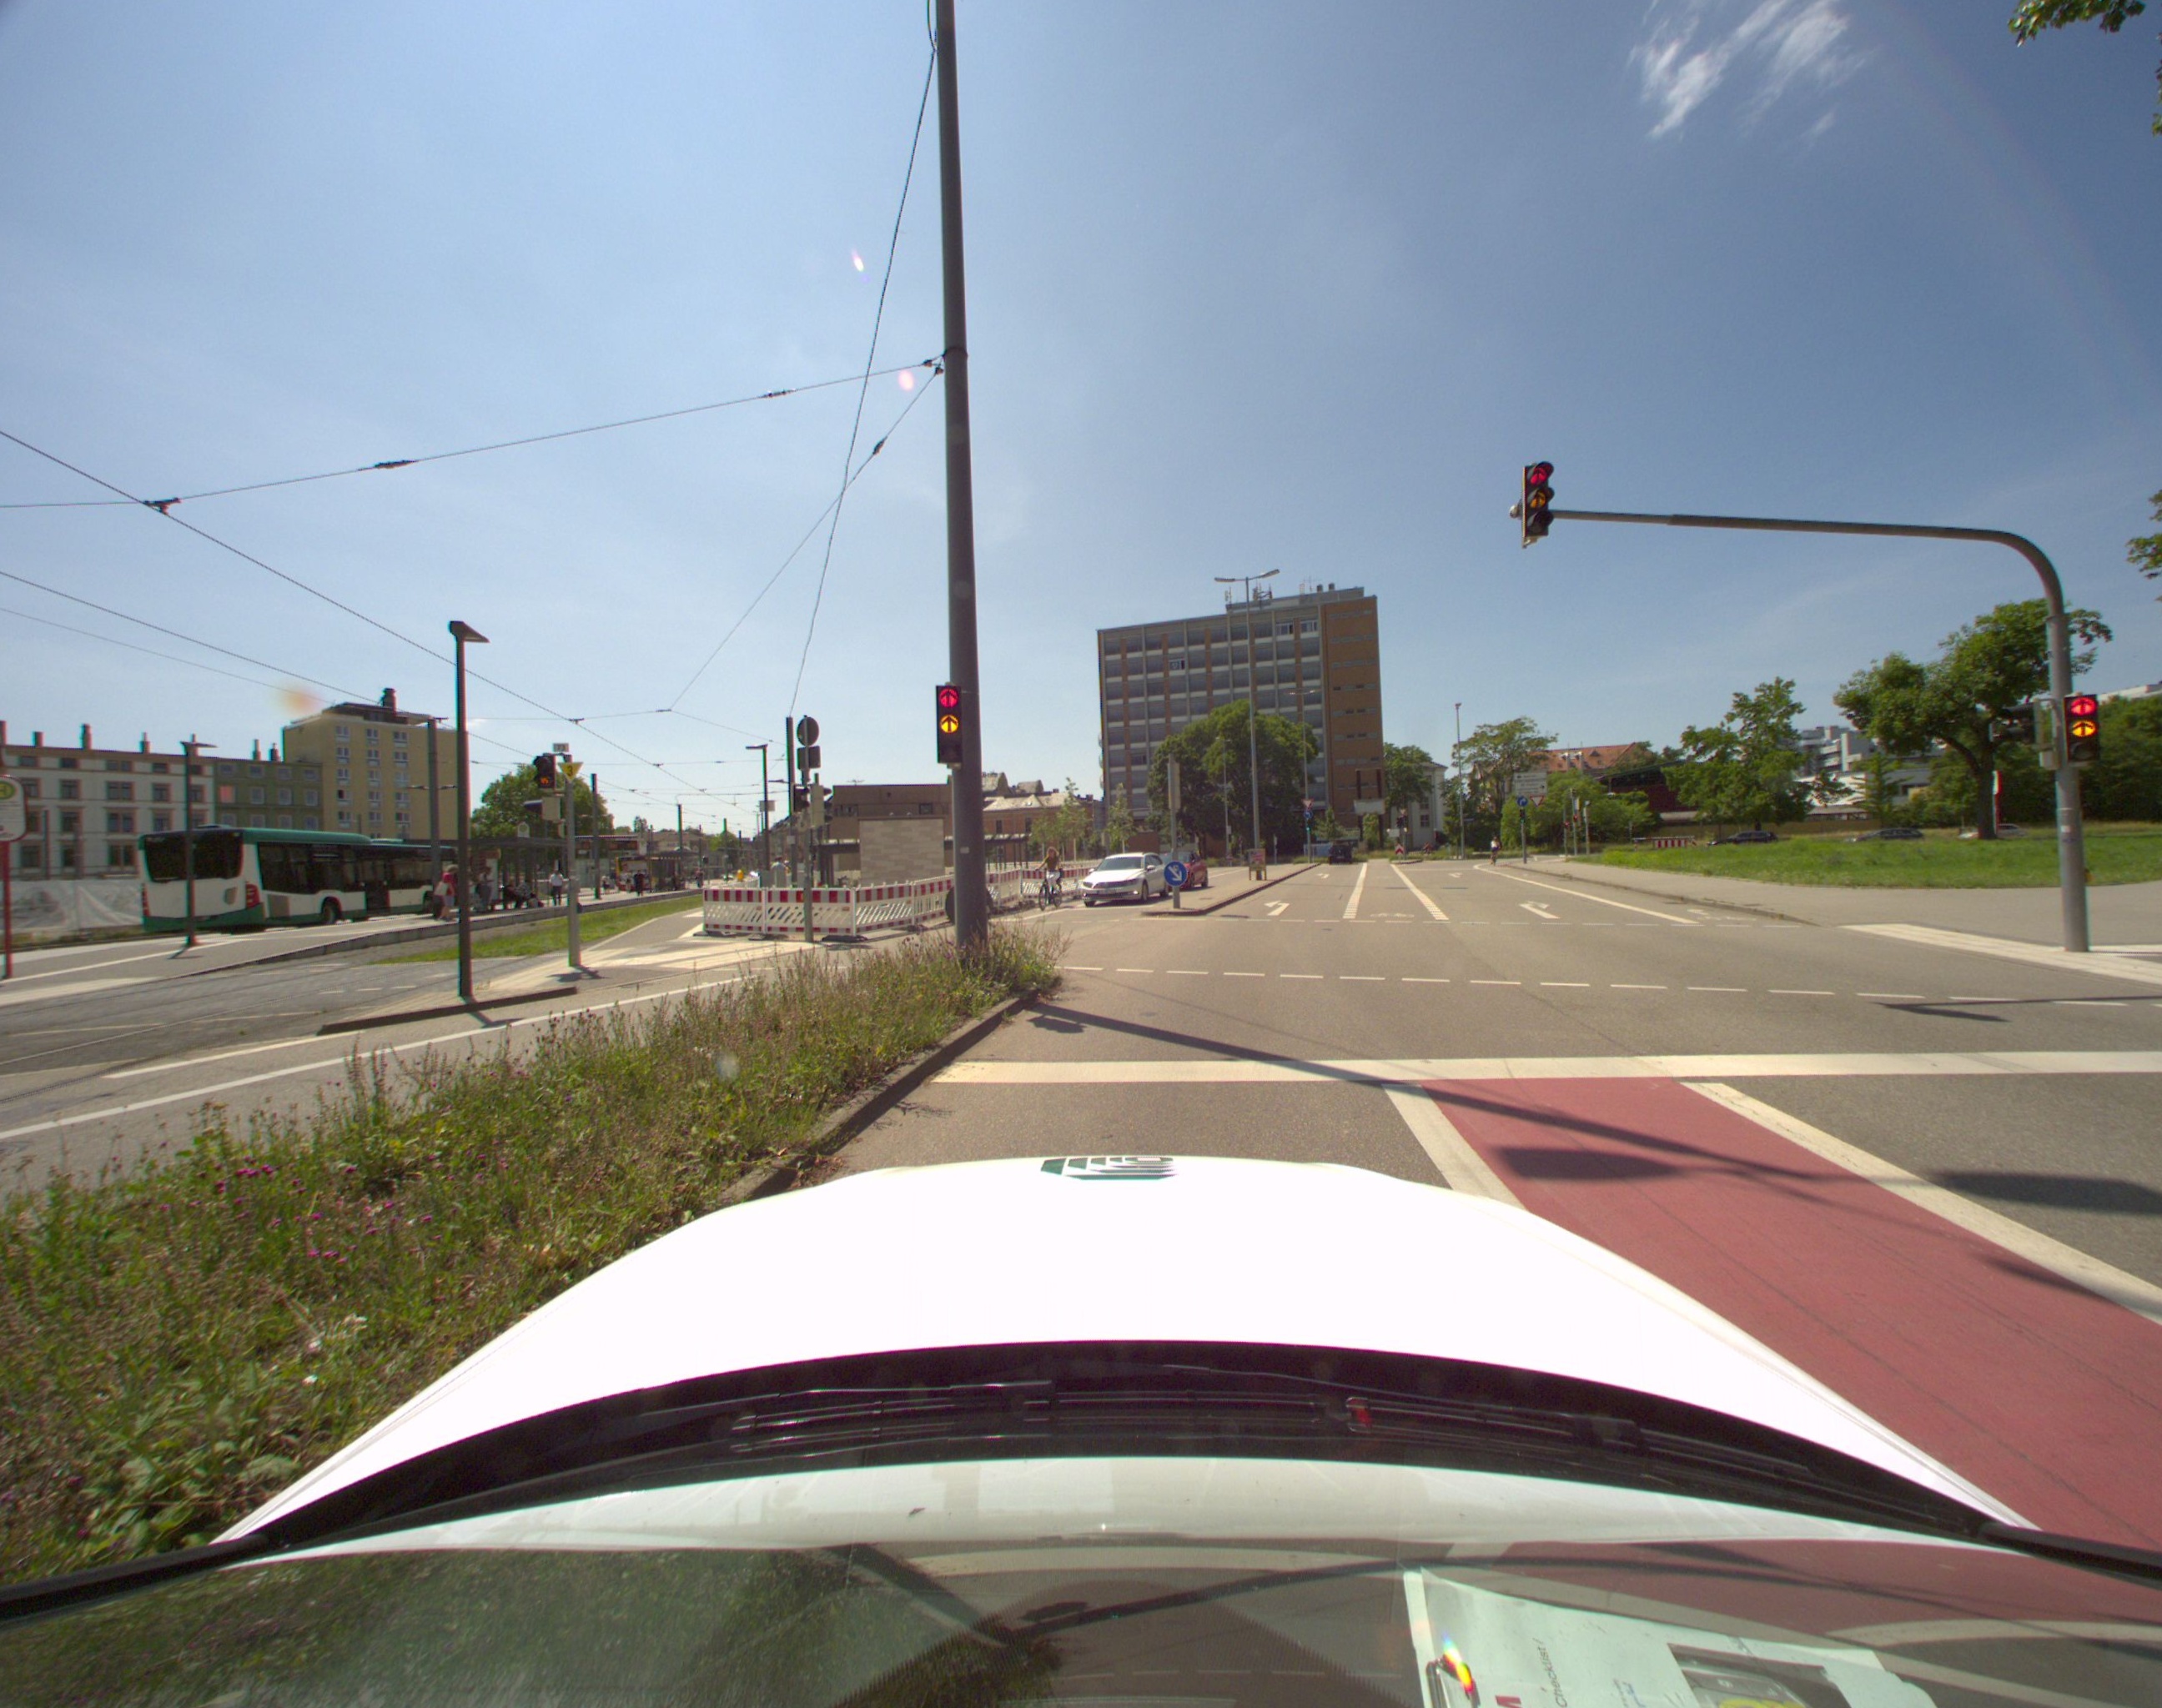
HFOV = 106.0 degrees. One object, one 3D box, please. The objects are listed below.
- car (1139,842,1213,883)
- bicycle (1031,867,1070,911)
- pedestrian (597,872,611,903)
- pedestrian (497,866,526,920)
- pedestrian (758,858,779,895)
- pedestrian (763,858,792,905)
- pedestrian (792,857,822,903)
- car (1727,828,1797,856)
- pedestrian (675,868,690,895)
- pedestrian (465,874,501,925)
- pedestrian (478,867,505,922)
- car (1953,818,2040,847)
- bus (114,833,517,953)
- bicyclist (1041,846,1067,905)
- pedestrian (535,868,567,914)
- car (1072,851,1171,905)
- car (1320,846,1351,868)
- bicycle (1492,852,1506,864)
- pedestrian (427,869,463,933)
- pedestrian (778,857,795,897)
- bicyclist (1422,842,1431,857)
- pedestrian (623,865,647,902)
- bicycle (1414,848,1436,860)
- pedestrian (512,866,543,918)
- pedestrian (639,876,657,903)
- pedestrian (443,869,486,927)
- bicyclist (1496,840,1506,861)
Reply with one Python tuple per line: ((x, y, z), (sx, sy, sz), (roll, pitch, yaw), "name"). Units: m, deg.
((3.702, 0.312, 31.167), (1.716, 1.425, 4.145), (-3, -1, 22), "car")
((-0.869, 1.002, 23.635), (0.394, 1.174, 1.780), (-2, 0, 23), "bicycle")
((-33.872, 2.374, 57.832), (0.710, 2.111, 0.649), (-2, -1, -39), "pedestrian")
((-22.990, 1.551, 32.880), (0.828, 2.096, 0.636), (-2, -1, -27), "pedestrian")
((-14.921, 1.073, 38.882), (0.732, 1.707, 0.735), (-1, -2, -38), "pedestrian")
((-12.195, 1.106, 32.748), (0.721, 1.864, 0.772), (-3, -2, 34), "pedestrian")
((-11.406, 1.077, 33.902), (0.983, 1.832, 0.627), (-2, -1, -30), "pedestrian")
((53.989, -0.905, 64.639), (3.952, 2.014, 1.478), (-3, -2, 22), "car")
((-30.840, 2.127, 63.086), (0.830, 2.096, 0.897), (-2, 0, -16), "pedestrian")
((-22.332, 1.688, 30.443), (0.916, 1.851, 0.652), (-2, -1, -25), "pedestrian")
((-23.038, 1.577, 31.827), (0.703, 2.096, 0.639), (-2, -1, -27), "pedestrian")
((66.996, -1.551, 59.662), (3.952, 1.871, 1.478), (-3, -2, 22), "car")
((-26.972, 1.179, 31.016), (3.015, 3.158, 17.410), (-2, 0, -14), "bus")
((-0.788, 0.620, 23.866), (0.562, 1.719, 0.510), (-1, 0, 26), "bicyclist")
((-24.964, 1.709, 38.371), (0.899, 2.096, 0.828), (-2, 0, -11), "pedestrian")
((1.367, 0.683, 24.882), (1.979, 1.438, 4.724), (-3, -1, 15), "car")
((18.448, 0.206, 59.158), (1.678, 1.527, 3.700), (-3, 0, 10), "car")
((25.015, 0.230, 48.749), (0.373, 0.646, 1.655), (-3, 0, 39), "bicycle")
((-19.594, 1.442, 25.105), (0.676, 1.909, 0.635), (-2, -1, -25), "pedestrian")
((-14.492, 1.144, 40.119), (0.721, 1.923, 1.067), (-1, -2, -20), "pedestrian")
((35.213, -0.483, 83.063), (0.677, 1.488, 0.789), (-3, -2, 30), "bicyclist")
((-26.084, 1.713, 47.649), (0.899, 2.096, 0.828), (-2, 0, -11), "pedestrian")
((35.130, 0.014, 83.110), (1.987, 1.135, 0.577), (-3, -2, 31), "bicycle")
((-23.051, 1.562, 33.929), (0.904, 2.096, 0.824), (-2, -1, -27), "pedestrian")
((-30.696, 2.537, 57.731), (0.979, 1.834, 0.768), (-2, -1, -39), "pedestrian")
((-21.959, 1.553, 29.040), (0.946, 1.990, 1.020), (-2, 0, -25), "pedestrian")
((25.149, -0.200, 48.725), (0.348, 1.227, 0.567), (-3, -1, 39), "bicyclist")
